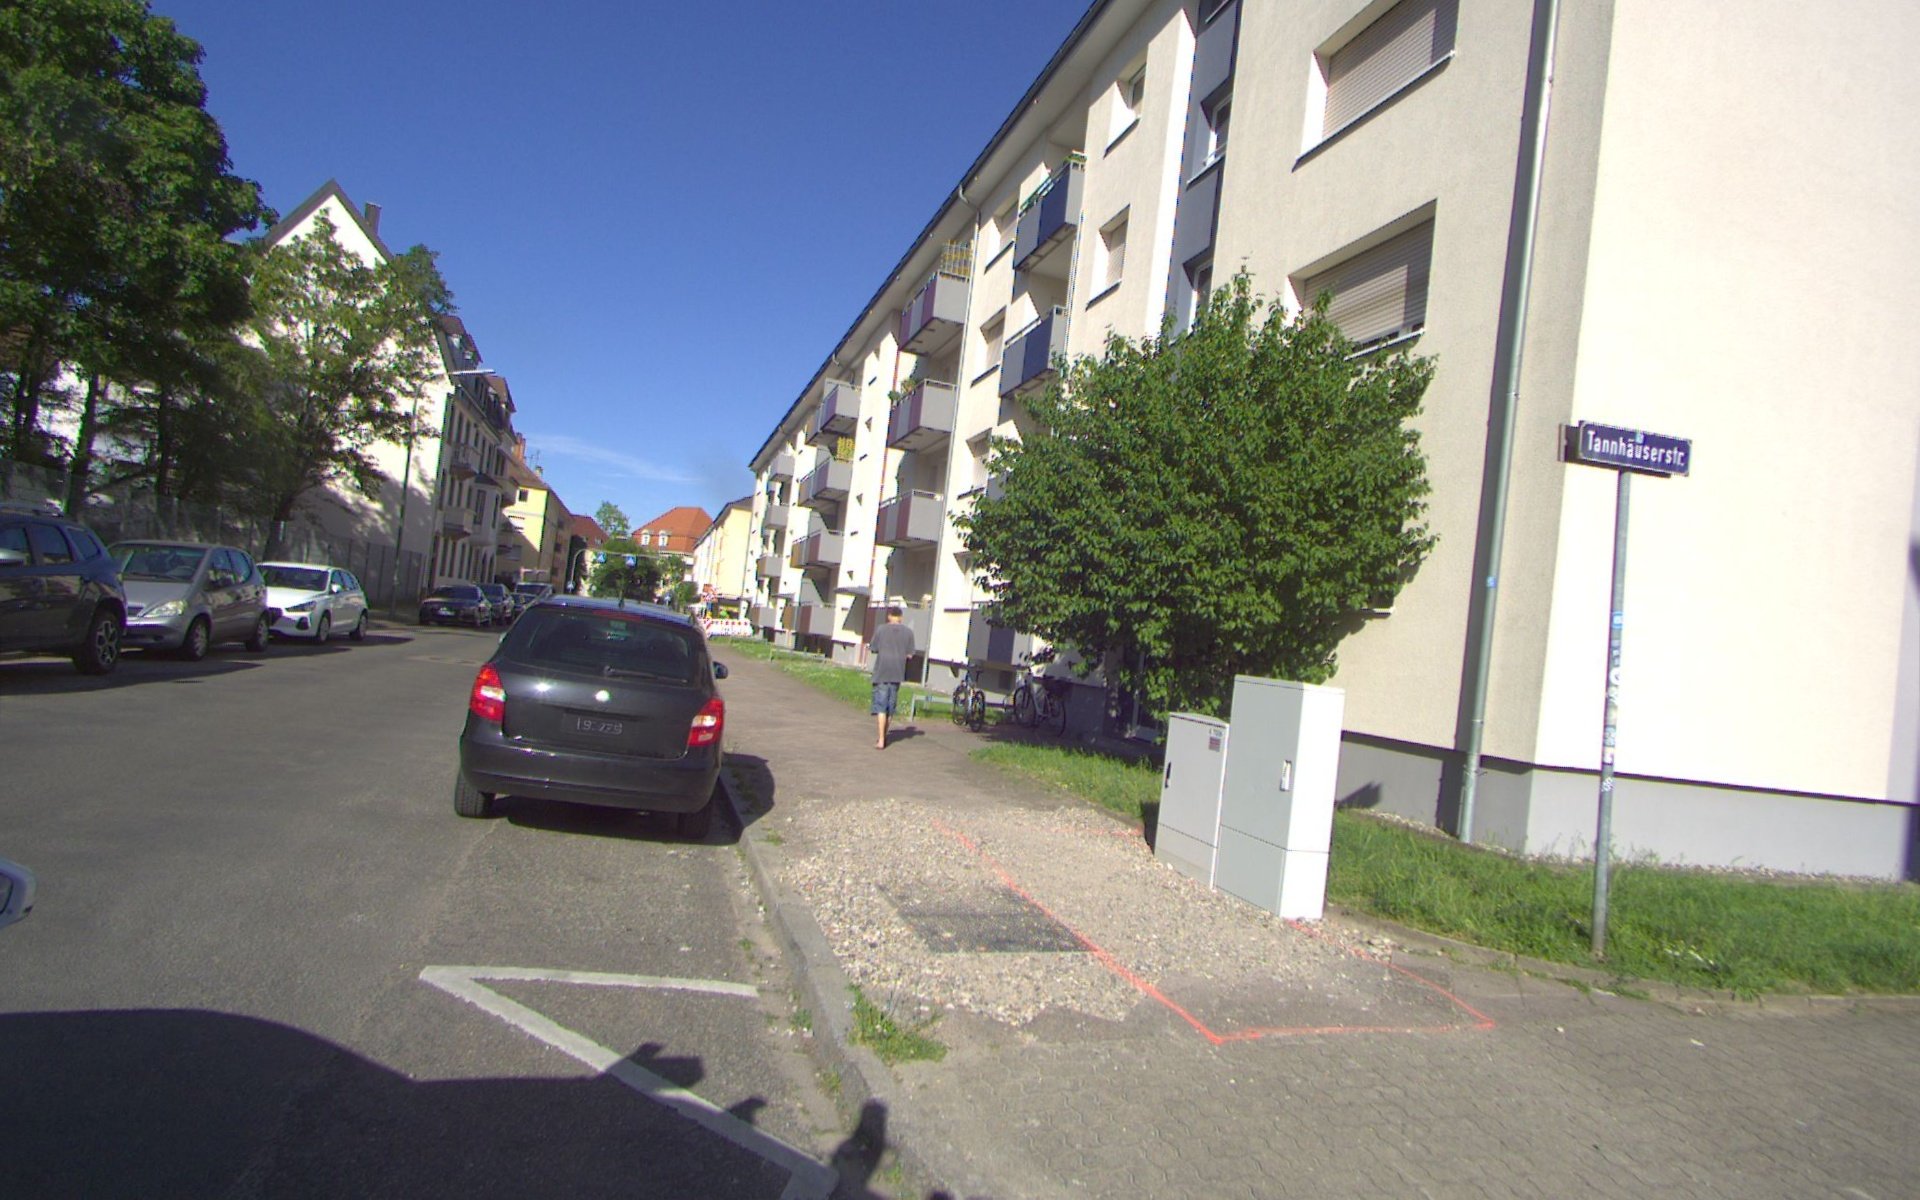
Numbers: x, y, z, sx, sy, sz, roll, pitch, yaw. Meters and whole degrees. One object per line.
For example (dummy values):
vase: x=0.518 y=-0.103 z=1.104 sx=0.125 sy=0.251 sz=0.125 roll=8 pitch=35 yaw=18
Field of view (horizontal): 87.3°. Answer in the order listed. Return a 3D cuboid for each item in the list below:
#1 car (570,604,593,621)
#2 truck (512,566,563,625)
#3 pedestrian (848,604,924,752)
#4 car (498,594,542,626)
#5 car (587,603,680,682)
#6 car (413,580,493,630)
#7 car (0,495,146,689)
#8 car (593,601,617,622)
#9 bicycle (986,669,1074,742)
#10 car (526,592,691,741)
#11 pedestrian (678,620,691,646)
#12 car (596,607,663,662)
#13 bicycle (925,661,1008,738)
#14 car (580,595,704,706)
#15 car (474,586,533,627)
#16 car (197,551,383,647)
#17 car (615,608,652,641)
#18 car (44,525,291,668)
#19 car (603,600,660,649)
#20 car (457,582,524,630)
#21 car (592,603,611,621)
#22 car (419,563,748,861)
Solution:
car: x=-38.715 y=1.296 z=102.985 sx=1.770 sy=1.498 sz=4.086 roll=7 pitch=-2 yaw=-17
truck: x=-25.050 y=-0.208 z=59.868 sx=2.235 sy=3.019 sz=7.248 roll=7 pitch=-3 yaw=-21
pedestrian: x=-0.972 y=0.993 z=13.027 sx=0.637 sy=1.791 sz=0.839 roll=7 pitch=-2 yaw=-14
car: x=-23.154 y=0.527 z=53.042 sx=1.770 sy=1.560 sz=4.623 roll=2 pitch=0 yaw=-20
car: x=-7.696 y=0.946 z=23.513 sx=1.734 sy=1.497 sz=4.065 roll=9 pitch=-3 yaw=-20
car: x=-17.566 y=0.205 z=35.055 sx=1.773 sy=1.488 sz=4.487 roll=5 pitch=-2 yaw=-19
car: x=-9.336 y=-0.118 z=9.072 sx=1.692 sy=1.683 sz=4.151 roll=4 pitch=-2 yaw=-19
car: x=-31.814 y=1.030 z=90.154 sx=1.801 sy=1.652 sz=4.242 roll=7 pitch=-2 yaw=-19
bicycle: x=1.134 y=1.733 z=16.911 sx=0.480 sy=0.972 sz=2.274 roll=6 pitch=-2 yaw=-21
car: x=-4.551 y=0.787 z=13.116 sx=1.587 sy=1.500 sz=3.785 roll=8 pitch=-3 yaw=-19
pedestrian: x=-16.456 y=1.970 z=60.107 sx=0.568 sy=1.451 sz=0.470 roll=6 pitch=-1 yaw=-16
car: x=-10.606 y=1.093 z=32.516 sx=1.731 sy=1.460 sz=4.512 roll=8 pitch=-3 yaw=-16
bicycle: x=0.062 y=1.607 z=16.634 sx=0.480 sy=1.023 sz=2.274 roll=6 pitch=-2 yaw=-21
car: x=-5.863 y=0.854 z=18.314 sx=1.734 sy=1.576 sz=4.240 roll=9 pitch=-3 yaw=-20
car: x=-21.213 y=0.336 z=46.916 sx=1.772 sy=1.579 sz=4.448 roll=9 pitch=-4 yaw=-17
car: x=-12.437 y=0.023 z=18.986 sx=1.773 sy=1.461 sz=4.107 roll=6 pitch=-2 yaw=-18
car: x=-17.802 y=1.313 z=54.938 sx=1.670 sy=1.482 sz=3.572 roll=10 pitch=-3 yaw=-17
car: x=-10.911 y=0.003 z=14.163 sx=1.545 sy=1.663 sz=3.604 roll=4 pitch=-2 yaw=-19
car: x=-13.188 y=0.969 z=40.350 sx=1.878 sy=1.640 sz=4.587 roll=8 pitch=-3 yaw=-19
car: x=-19.207 y=0.259 z=41.304 sx=1.857 sy=1.683 sz=4.915 roll=6 pitch=-2 yaw=-19
car: x=-40.656 y=1.406 z=114.139 sx=1.678 sy=1.798 sz=4.087 roll=8 pitch=-3 yaw=-17
car: x=-2.782 y=0.713 z=7.683 sx=1.600 sy=1.565 sz=4.072 roll=7 pitch=-3 yaw=-19
